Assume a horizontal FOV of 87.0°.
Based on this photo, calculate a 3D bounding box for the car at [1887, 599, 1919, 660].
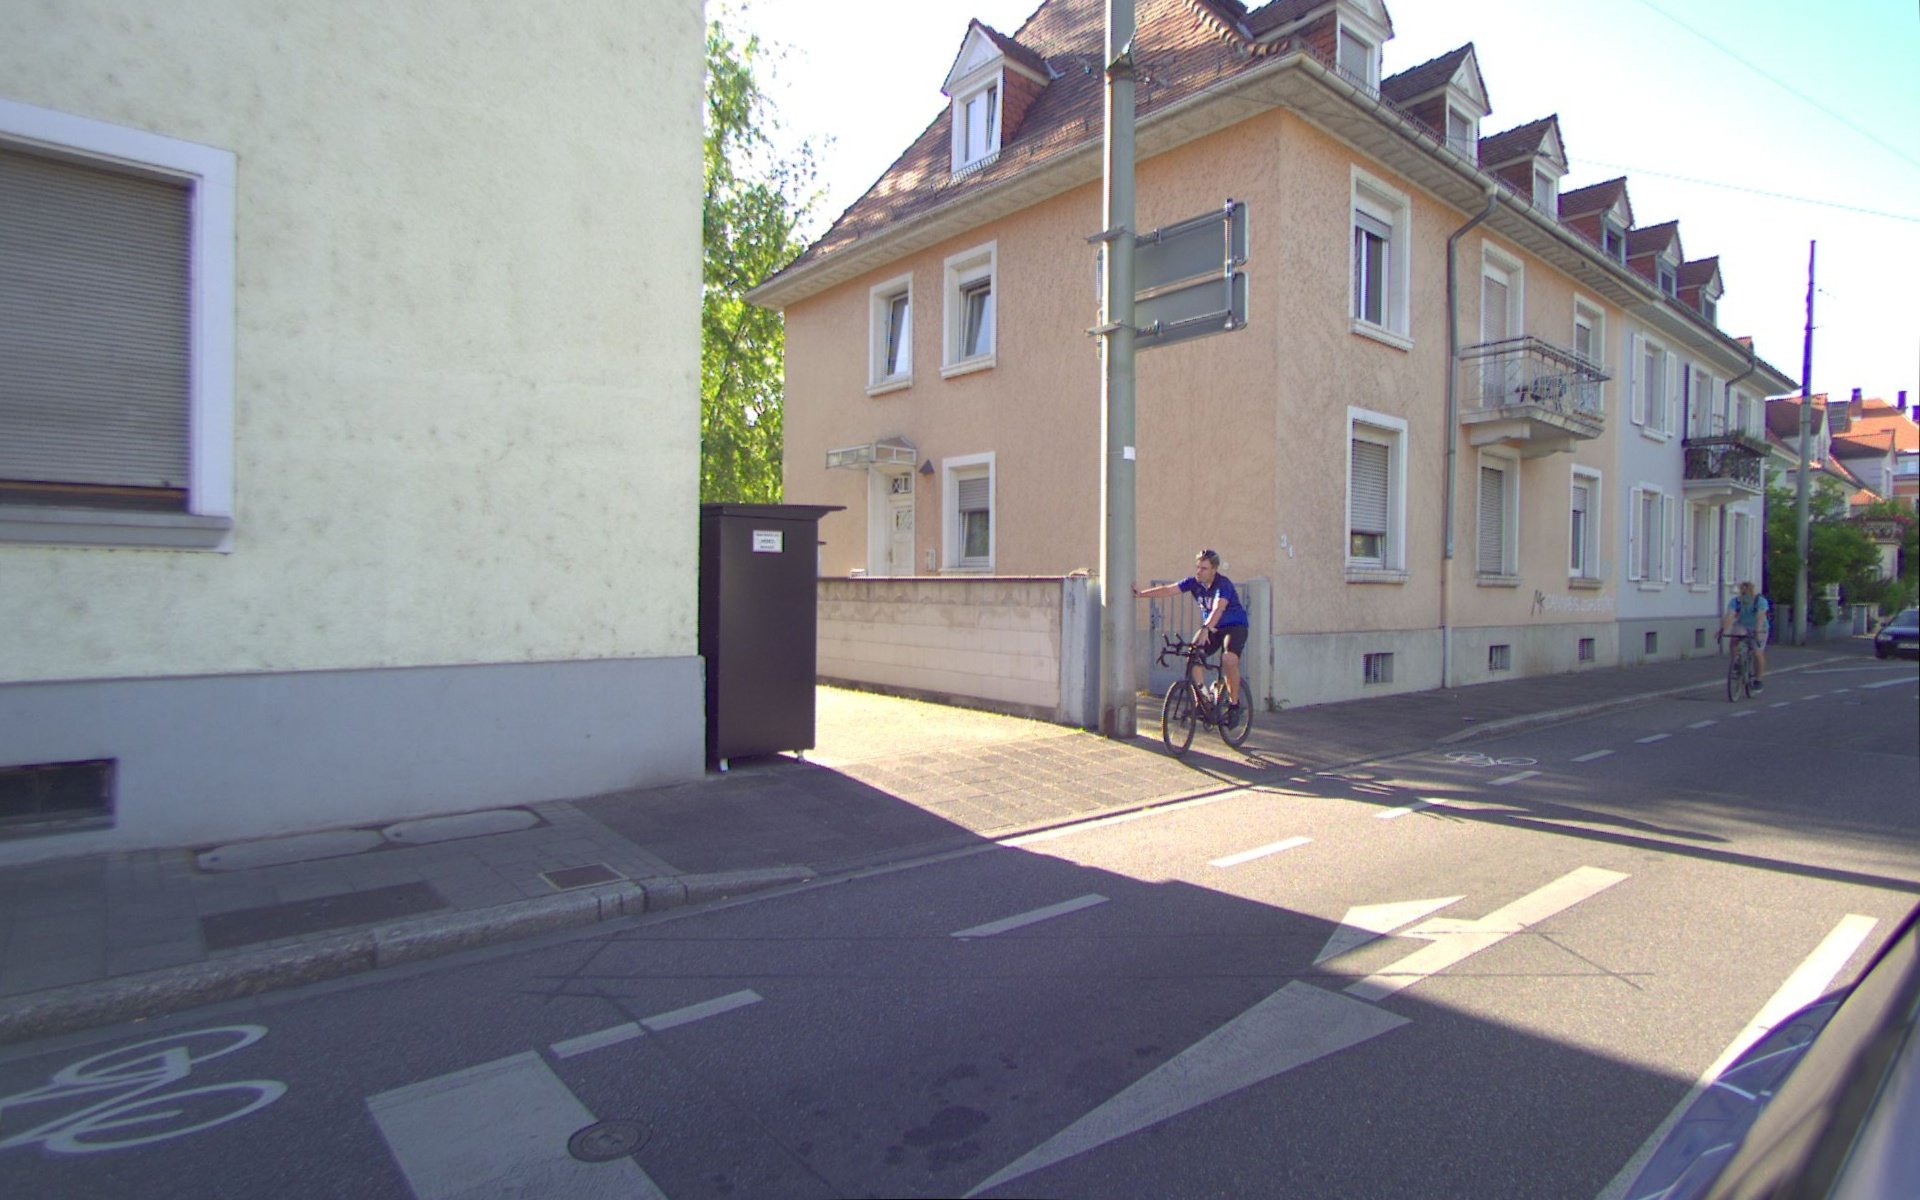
[{"bbox_3d":[26.702,0.753,27.365,3.742,1.601,1.696,0,-1,-36],"label":"car"}]

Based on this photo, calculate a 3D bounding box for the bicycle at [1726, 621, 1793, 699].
[{"bbox_3d":[12.276,0.908,15.521,1.765,1.105,0.519,3,-1,-43],"label":"bicycle"}]

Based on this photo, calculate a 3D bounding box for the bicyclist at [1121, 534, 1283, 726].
[{"bbox_3d":[2.259,0.242,9.506,0.870,1.627,1.052,1,5,-41],"label":"bicyclist"}]

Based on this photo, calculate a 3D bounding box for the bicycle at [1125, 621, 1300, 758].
[{"bbox_3d":[2.360,0.776,9.347,1.744,1.081,0.592,0,5,-41],"label":"bicycle"}]

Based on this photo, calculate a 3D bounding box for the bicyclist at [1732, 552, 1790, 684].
[{"bbox_3d":[12.318,0.280,15.551,0.929,1.959,0.519,4,-2,-42],"label":"bicyclist"}]
